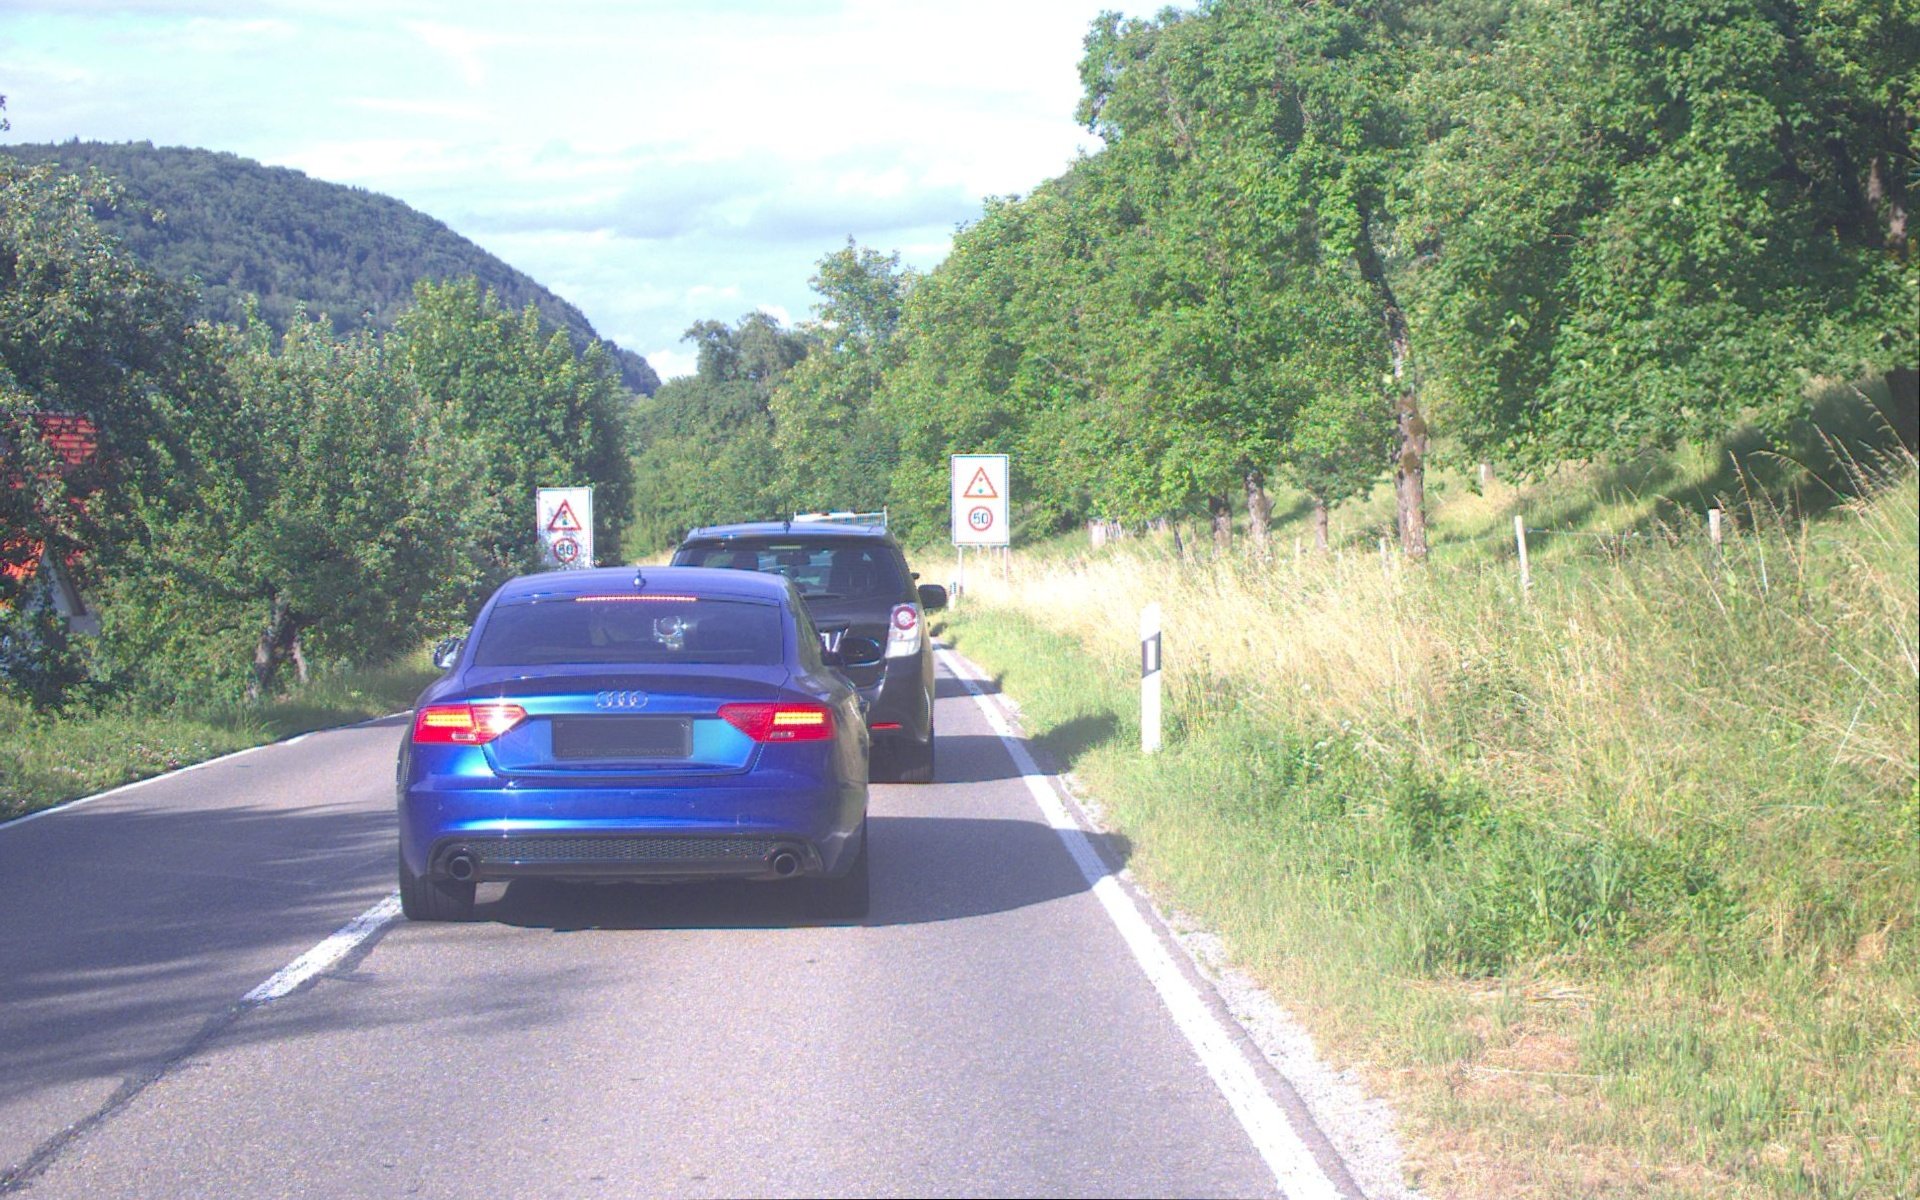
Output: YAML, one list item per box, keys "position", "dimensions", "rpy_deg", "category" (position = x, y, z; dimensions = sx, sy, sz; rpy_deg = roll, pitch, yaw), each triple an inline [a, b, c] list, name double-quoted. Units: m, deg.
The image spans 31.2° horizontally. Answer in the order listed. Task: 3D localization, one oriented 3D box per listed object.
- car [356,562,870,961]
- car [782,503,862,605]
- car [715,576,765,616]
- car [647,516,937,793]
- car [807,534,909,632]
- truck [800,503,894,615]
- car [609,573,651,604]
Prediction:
- position: [-1.294, 0.554, 14.399]
  dimensions: [1.805, 1.377, 4.215]
  rpy_deg: [0, 1, -1]
  category: "car"
- position: [-3.464, -1.159, 85.751]
  dimensions: [1.792, 2.445, 3.920]
  rpy_deg: [1, 1, -4]
  category: "car"
- position: [-8.754, -0.159, 136.540]
  dimensions: [1.558, 1.490, 3.779]
  rpy_deg: [1, 1, -10]
  category: "car"
- position: [-1.038, 0.282, 22.029]
  dimensions: [1.692, 1.618, 3.789]
  rpy_deg: [0, 1, -2]
  category: "car"
- position: [-1.756, -0.324, 59.099]
  dimensions: [1.692, 1.618, 3.789]
  rpy_deg: [0, 1, -2]
  category: "car"
- position: [-2.507, -0.903, 75.387]
  dimensions: [1.950, 2.337, 5.094]
  rpy_deg: [1, 1, -2]
  category: "truck"
- position: [-16.605, -0.569, 173.034]
  dimensions: [1.558, 1.490, 3.779]
  rpy_deg: [1, 1, -14]
  category: "car"
